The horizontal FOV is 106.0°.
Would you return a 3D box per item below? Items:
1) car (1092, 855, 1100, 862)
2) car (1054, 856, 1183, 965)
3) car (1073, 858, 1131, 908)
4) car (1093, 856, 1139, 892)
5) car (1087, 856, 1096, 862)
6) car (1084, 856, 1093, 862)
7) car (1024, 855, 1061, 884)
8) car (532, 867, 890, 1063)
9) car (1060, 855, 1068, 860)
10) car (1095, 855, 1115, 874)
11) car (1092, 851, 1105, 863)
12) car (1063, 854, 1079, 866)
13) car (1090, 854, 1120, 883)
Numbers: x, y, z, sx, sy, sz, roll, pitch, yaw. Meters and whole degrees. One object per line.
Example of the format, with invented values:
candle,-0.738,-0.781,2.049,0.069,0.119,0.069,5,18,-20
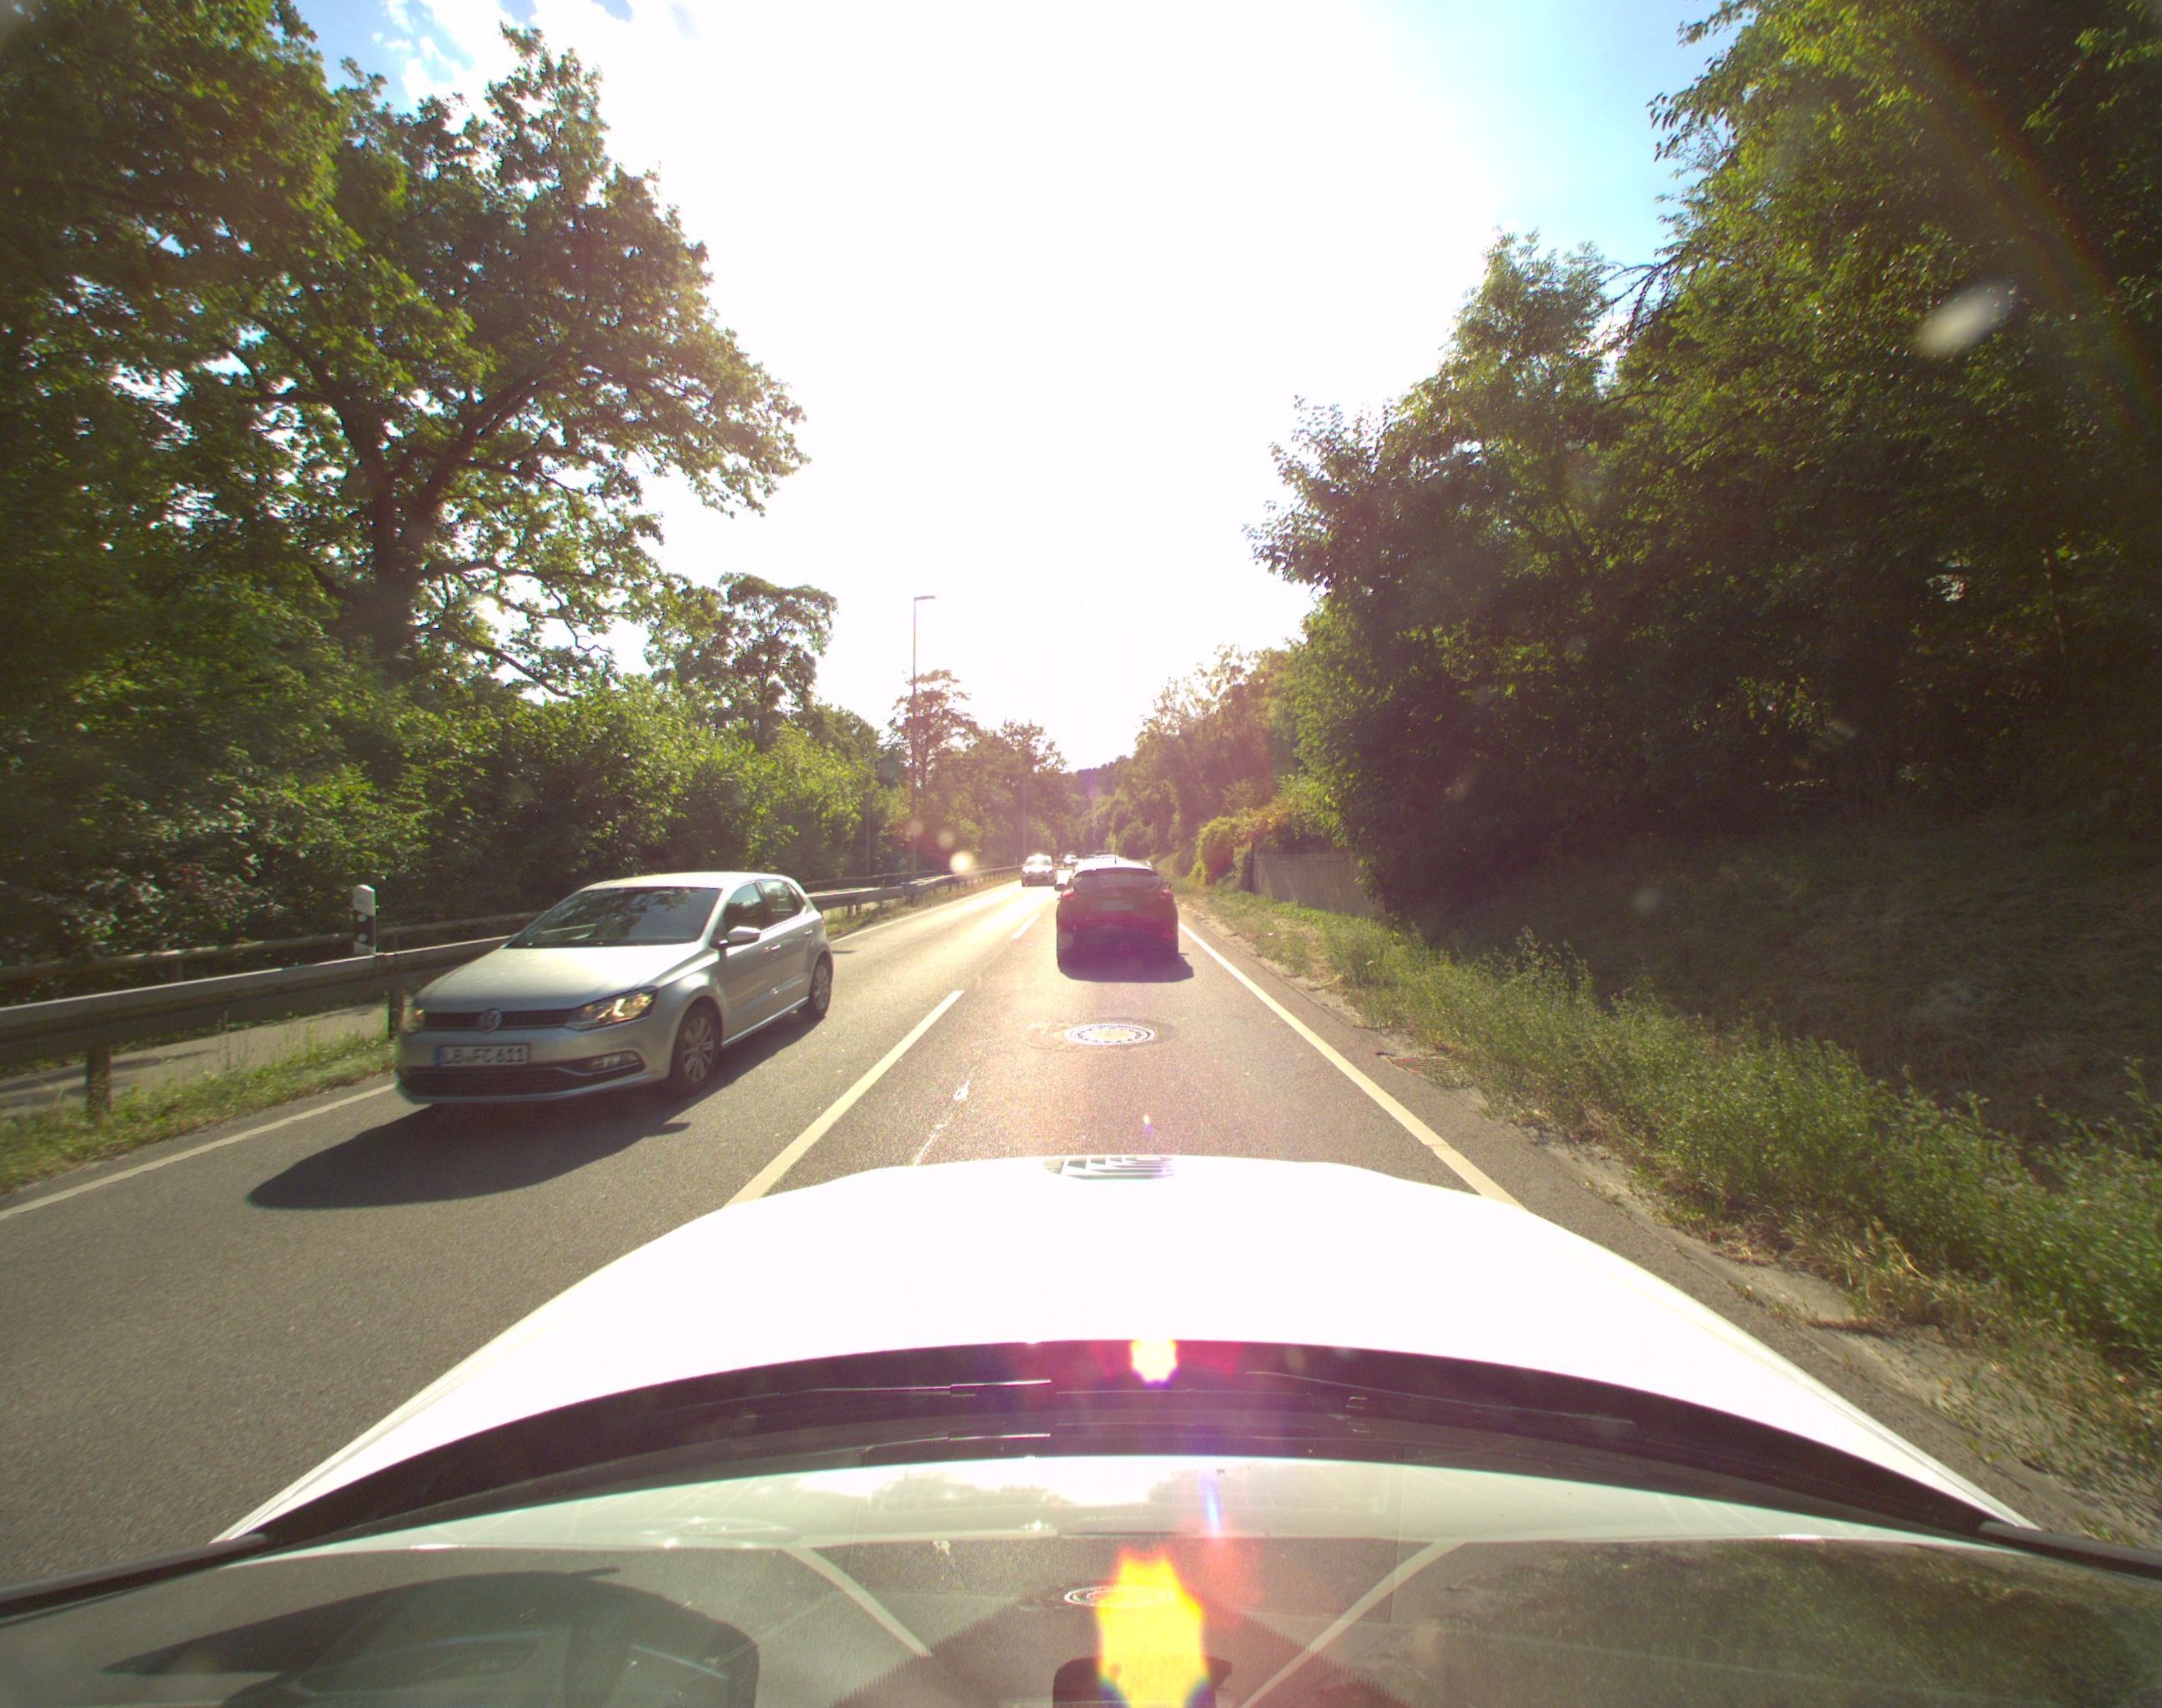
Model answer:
car,3.309,1.028,180.994,1.812,1.519,4.002,-1,0,2
car,0.582,0.787,13.079,1.733,1.456,4.002,-1,0,2
car,0.727,0.859,25.803,1.654,1.418,4.003,-1,0,3
car,1.459,0.808,34.293,1.798,1.391,4.002,-1,0,2
car,2.559,1.220,194.198,1.987,1.519,4.000,-1,0,0
car,1.853,1.277,204.522,1.991,1.519,3.992,-1,0,-6
car,-2.023,0.818,44.052,1.675,1.463,4.198,-1,0,1
car,-3.250,0.863,8.135,1.617,1.377,4.048,-1,0,1
car,-5.391,1.202,255.996,1.993,1.519,3.987,-1,0,-10
car,2.089,0.909,70.576,1.624,1.596,4.002,-1,0,2
car,2.690,0.526,125.658,1.857,1.780,3.999,-1,0,0
car,-1.217,0.762,102.009,1.768,1.387,4.002,-1,0,2
car,1.403,0.804,47.679,1.624,1.596,4.002,-1,0,2
